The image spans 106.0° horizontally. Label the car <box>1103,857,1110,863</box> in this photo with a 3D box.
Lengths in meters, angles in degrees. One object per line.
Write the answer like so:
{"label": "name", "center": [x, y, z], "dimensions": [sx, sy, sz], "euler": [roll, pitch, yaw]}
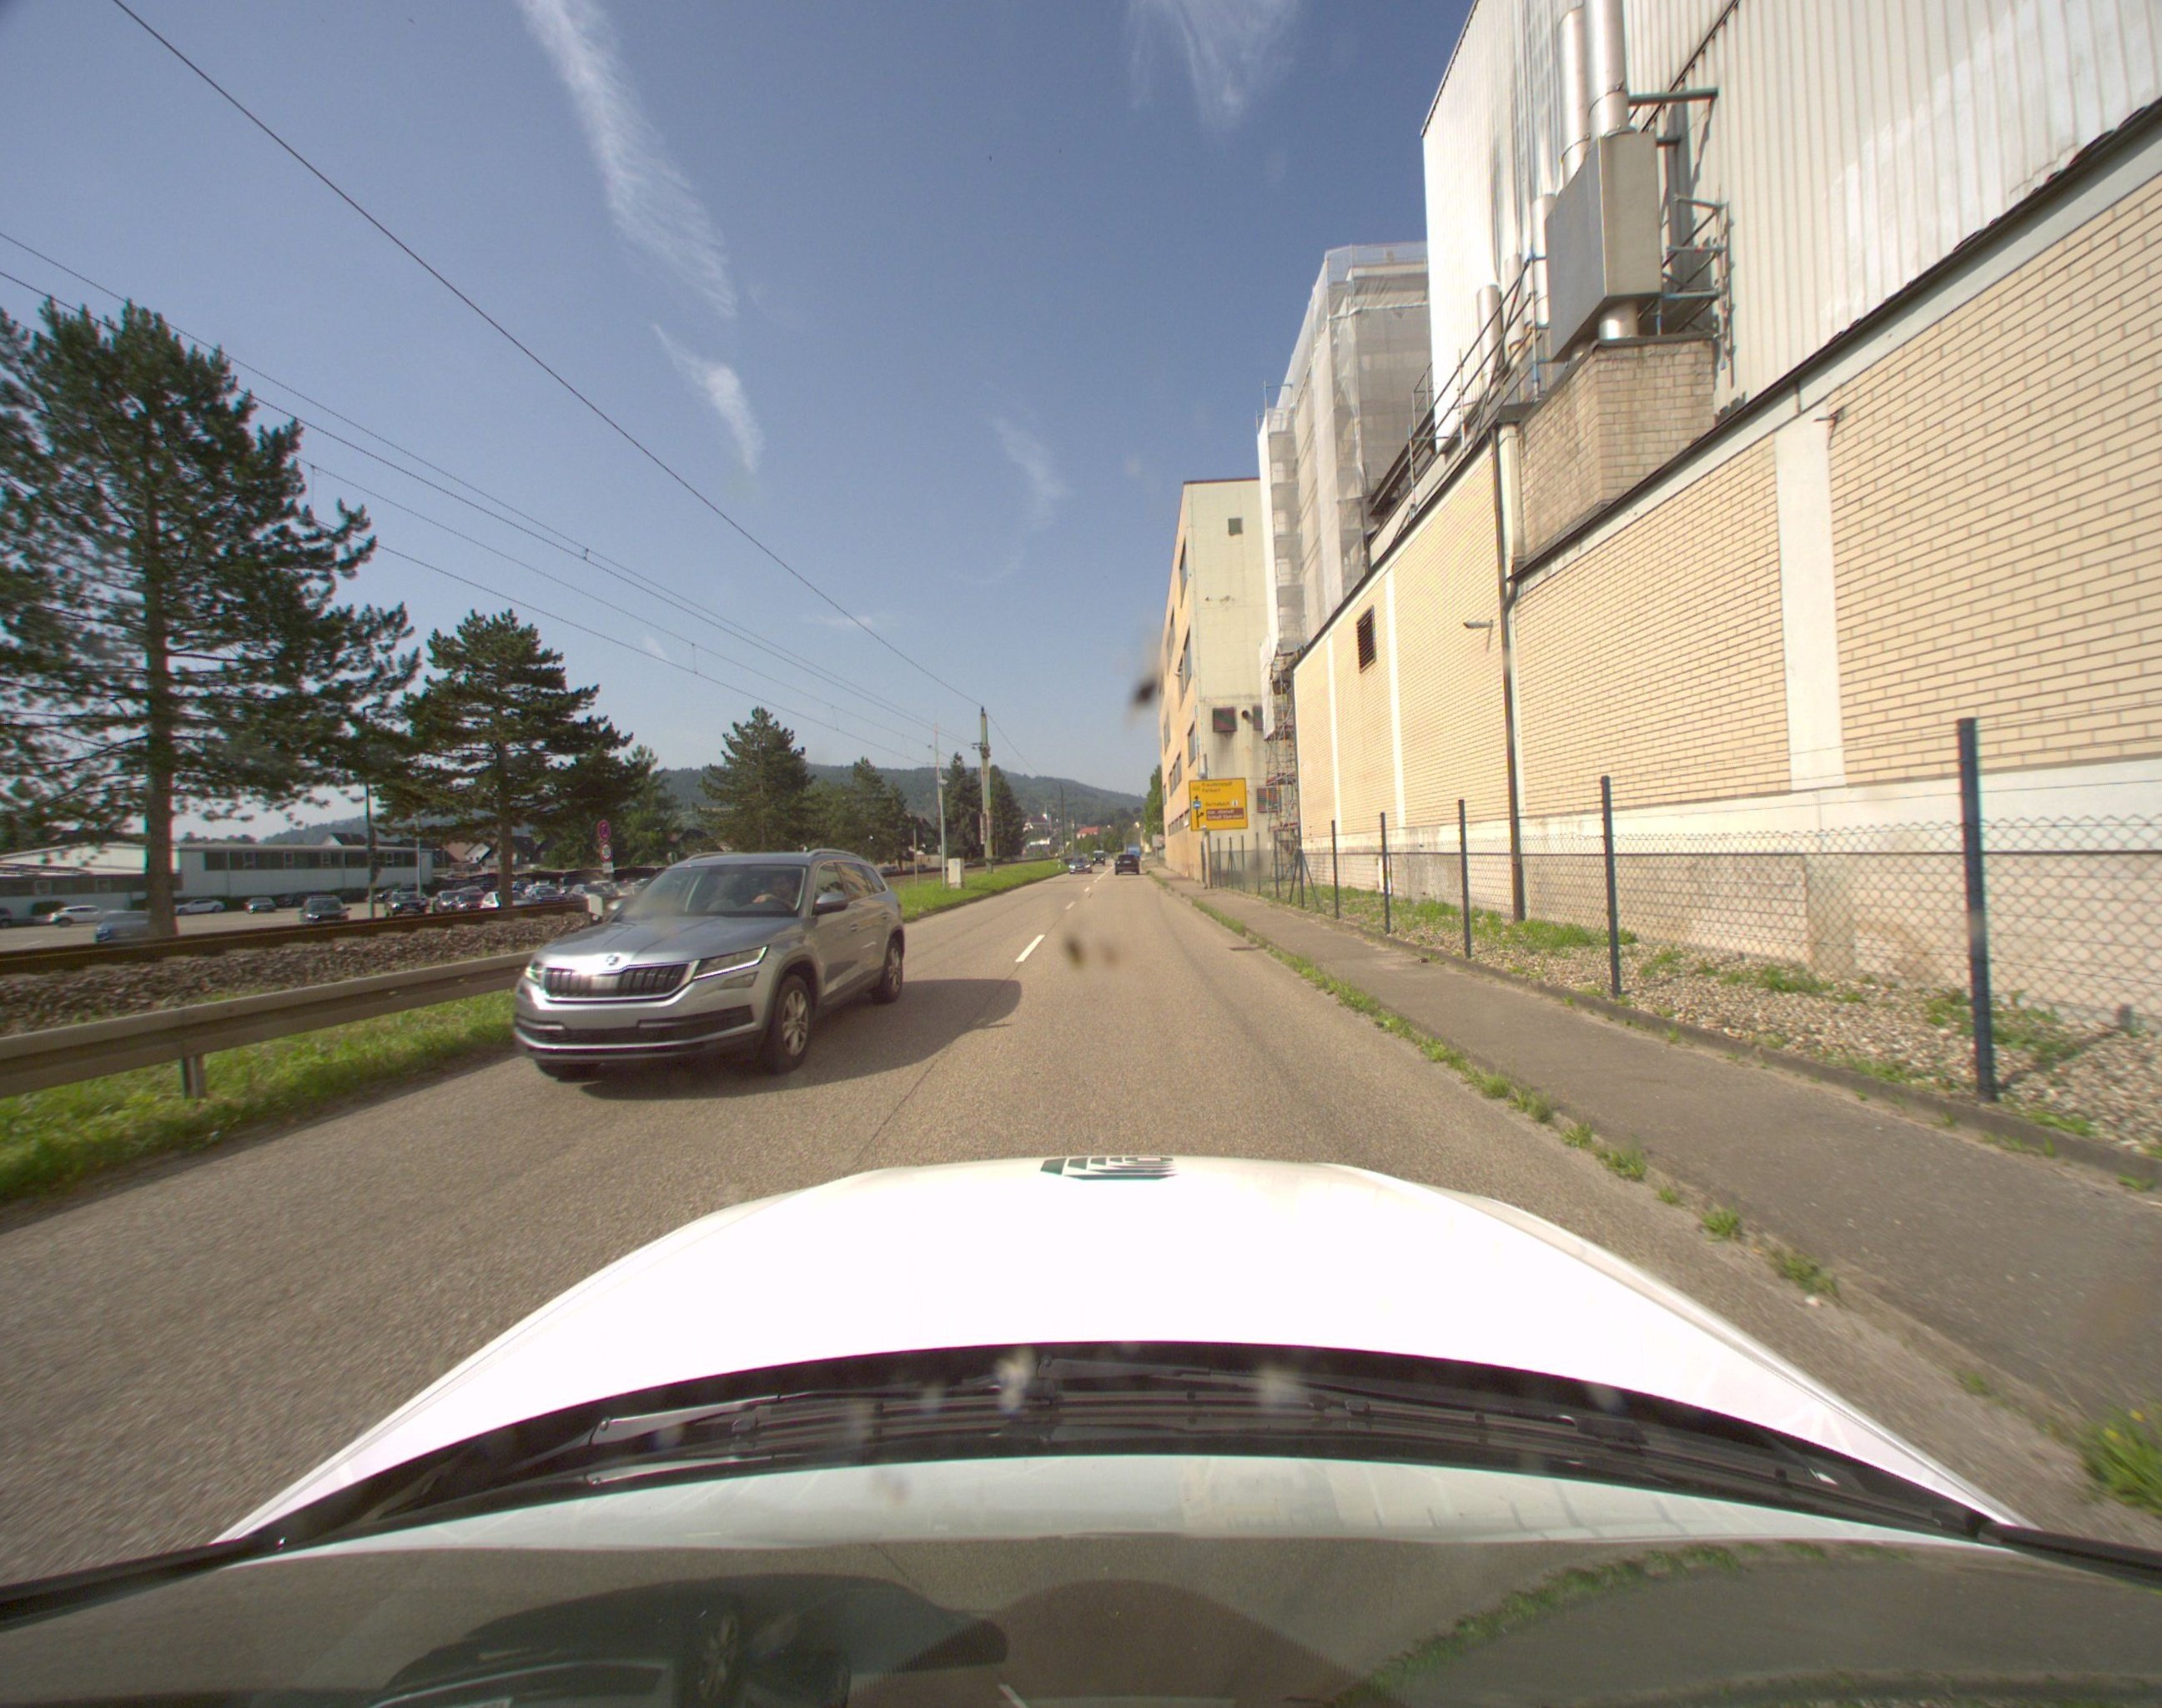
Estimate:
{"label": "car", "center": [7.032, 1.598, 224.254], "dimensions": [1.735, 1.507, 4.202], "euler": [-2, 0, 2]}

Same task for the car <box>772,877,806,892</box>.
{"label": "car", "center": [-29.488, 3.089, 82.136], "dimensions": [3.490, 1.325, 1.467], "euler": [-3, -1, 35]}

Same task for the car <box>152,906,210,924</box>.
{"label": "car", "center": [-85.666, 5.803, 77.585], "dimensions": [1.447, 1.325, 3.538], "euler": [-3, 0, 2]}

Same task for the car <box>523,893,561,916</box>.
{"label": "car", "center": [-37.598, 3.508, 56.753], "dimensions": [1.697, 1.390, 3.806], "euler": [-3, 0, -41]}

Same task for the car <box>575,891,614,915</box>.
{"label": "car", "center": [-34.080, 3.411, 57.006], "dimensions": [1.697, 1.506, 3.806], "euler": [-3, 0, -41]}

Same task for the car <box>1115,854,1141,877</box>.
{"label": "car", "center": [3.651, 0.849, 62.872], "dimensions": [1.911, 1.640, 4.004], "euler": [-2, 0, 4]}

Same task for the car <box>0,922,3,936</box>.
{"label": "car", "center": [-86.608, 6.001, 63.107], "dimensions": [1.329, 1.110, 3.538], "euler": [-3, 0, 2]}

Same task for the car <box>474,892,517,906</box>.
{"label": "car", "center": [-63.764, 4.895, 88.712], "dimensions": [1.439, 1.325, 3.559], "euler": [-3, 0, 42]}

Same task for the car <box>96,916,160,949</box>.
{"label": "car", "center": [-47.196, 3.838, 40.380], "dimensions": [1.698, 1.332, 3.804], "euler": [-3, 0, -45]}

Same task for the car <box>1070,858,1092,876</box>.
{"label": "car", "center": [0.024, 1.075, 70.738], "dimensions": [1.761, 1.405, 4.298], "euler": [-3, 0, 1]}

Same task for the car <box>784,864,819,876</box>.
{"label": "car", "center": [-37.343, 2.121, 108.897], "dimensions": [3.981, 1.536, 1.815], "euler": [-2, 0, -6]}

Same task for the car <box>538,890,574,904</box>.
{"label": "car", "center": [-55.644, 4.551, 86.284], "dimensions": [3.493, 1.325, 1.466], "euler": [-3, 0, 24]}

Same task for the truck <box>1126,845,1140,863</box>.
{"label": "truck", "center": [9.467, -0.014, 148.533], "dimensions": [2.304, 2.970, 5.967], "euler": [-3, 0, 1]}

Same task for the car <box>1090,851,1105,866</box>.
{"label": "car", "center": [2.304, 0.592, 113.199], "dimensions": [1.750, 2.078, 4.814], "euler": [-1, 0, 4]}

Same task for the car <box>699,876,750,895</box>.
{"label": "car", "center": [-29.356, 2.585, 67.064], "dimensions": [3.541, 1.357, 1.501], "euler": [-3, 0, -43]}

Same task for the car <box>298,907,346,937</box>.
{"label": "car", "center": [-42.367, 3.763, 45.430], "dimensions": [3.804, 1.406, 1.698], "euler": [-3, 0, 44]}

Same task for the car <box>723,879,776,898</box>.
{"label": "car", "center": [-28.699, 2.988, 70.531], "dimensions": [1.545, 1.325, 3.882], "euler": [-3, 0, 41]}

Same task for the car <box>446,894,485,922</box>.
{"label": "car", "center": [-40.448, 3.519, 53.496], "dimensions": [1.697, 1.642, 3.806], "euler": [-3, 0, -41]}

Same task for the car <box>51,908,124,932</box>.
{"label": "car", "center": [-79.773, 5.296, 65.411], "dimensions": [1.546, 1.523, 3.560], "euler": [-3, 0, 36]}

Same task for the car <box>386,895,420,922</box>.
{"label": "car", "center": [-46.556, 3.723, 55.900], "dimensions": [1.697, 1.642, 3.806], "euler": [-3, 0, -41]}

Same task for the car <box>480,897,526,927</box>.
{"label": "car", "center": [-32.393, 3.221, 45.628], "dimensions": [1.697, 1.443, 3.806], "euler": [-3, 0, -41]}

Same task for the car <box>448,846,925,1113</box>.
{"label": "car", "center": [-2.914, 0.798, 7.380], "dimensions": [1.899, 1.600, 4.573], "euler": [-2, 0, 2]}

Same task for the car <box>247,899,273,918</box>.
{"label": "car", "center": [-75.564, 5.001, 74.989], "dimensions": [1.576, 1.523, 3.493], "euler": [-3, 0, -44]}
